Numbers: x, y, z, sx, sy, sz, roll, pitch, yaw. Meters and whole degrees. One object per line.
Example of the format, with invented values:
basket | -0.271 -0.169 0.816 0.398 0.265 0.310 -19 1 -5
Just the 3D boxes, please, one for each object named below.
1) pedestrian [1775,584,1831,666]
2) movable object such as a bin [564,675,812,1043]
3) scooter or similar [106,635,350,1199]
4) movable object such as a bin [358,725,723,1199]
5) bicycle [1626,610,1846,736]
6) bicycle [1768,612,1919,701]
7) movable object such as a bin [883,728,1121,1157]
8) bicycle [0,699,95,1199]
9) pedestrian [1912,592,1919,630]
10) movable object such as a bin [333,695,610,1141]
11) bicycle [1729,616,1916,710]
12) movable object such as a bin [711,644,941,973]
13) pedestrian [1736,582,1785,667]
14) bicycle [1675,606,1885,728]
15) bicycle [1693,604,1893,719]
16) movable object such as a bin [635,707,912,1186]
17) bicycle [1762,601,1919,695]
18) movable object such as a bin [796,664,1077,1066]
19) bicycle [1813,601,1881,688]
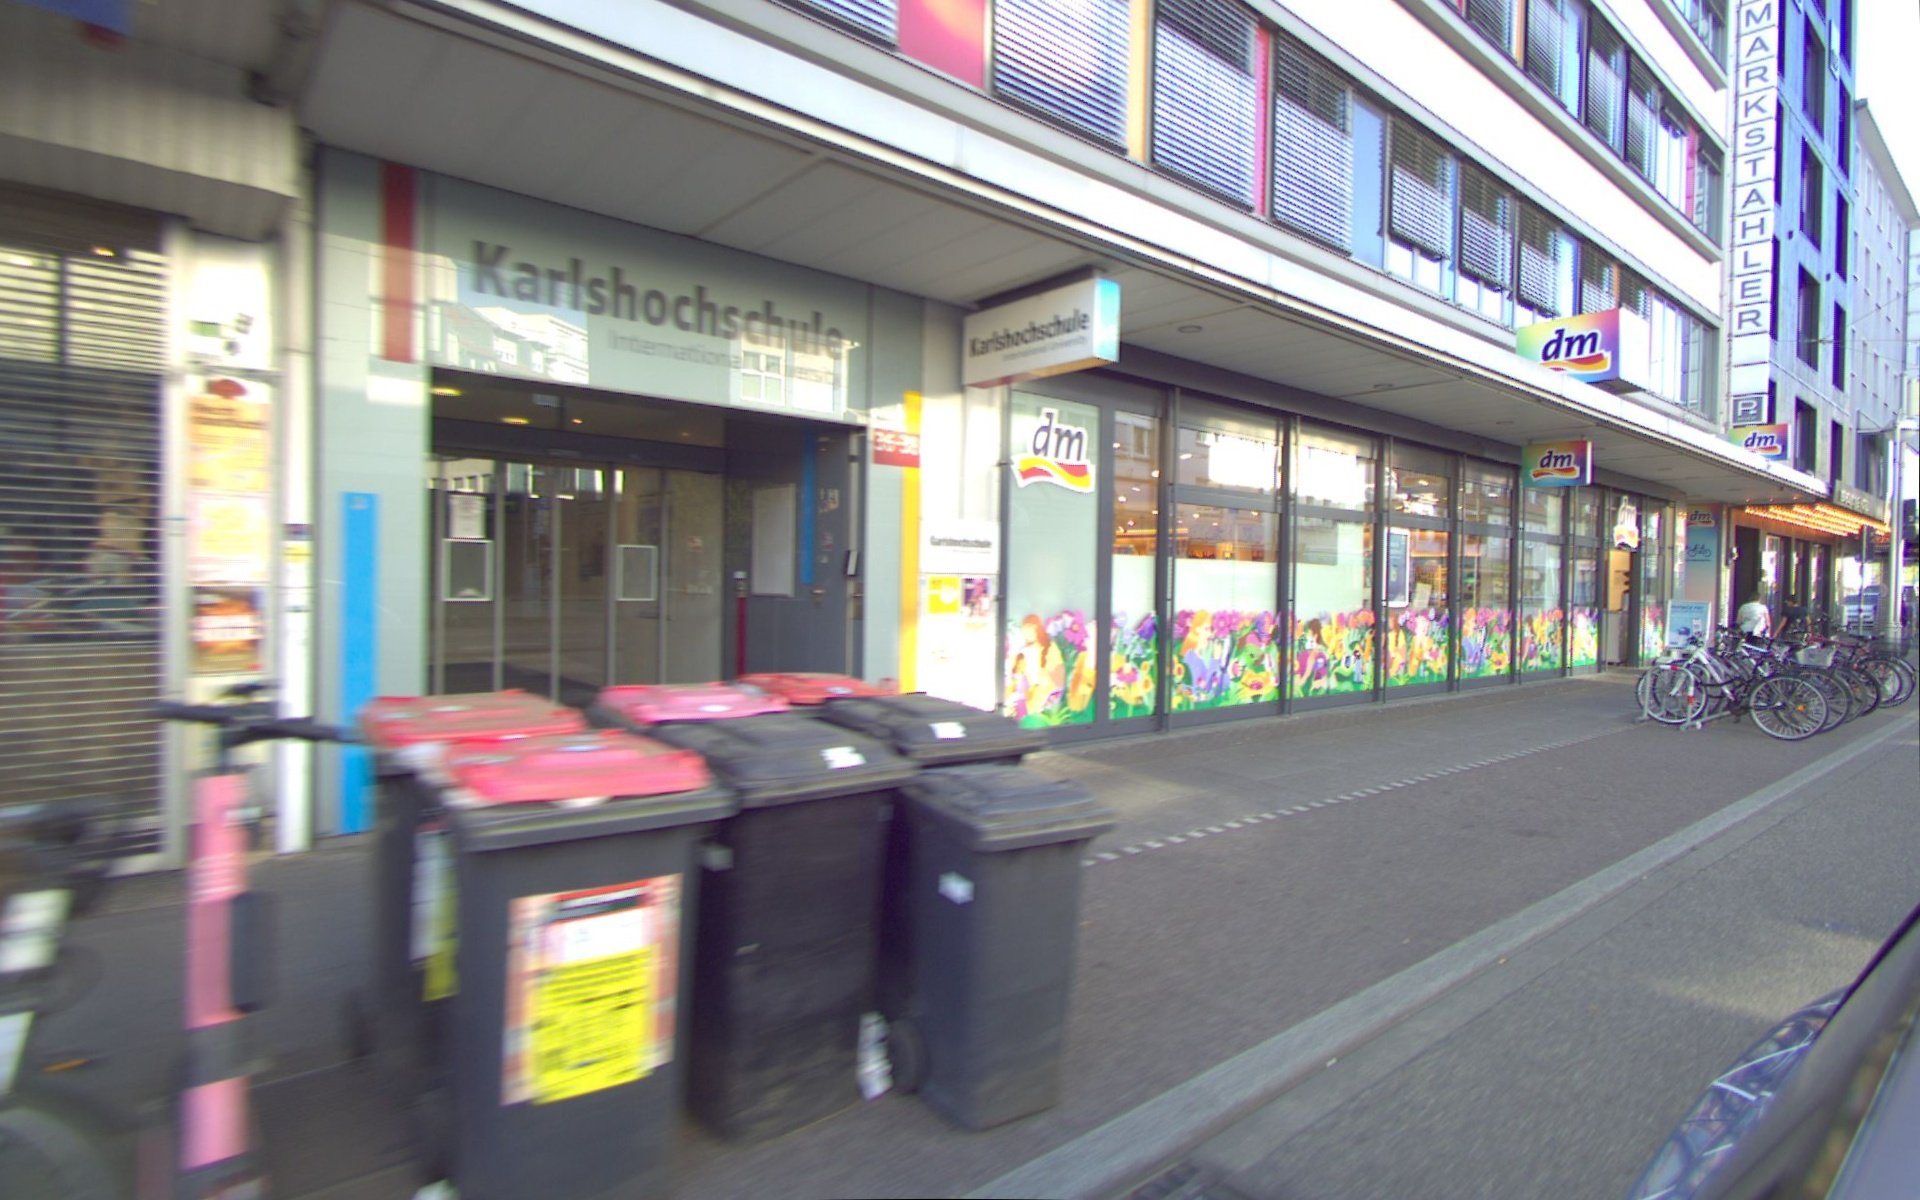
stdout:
pedestrian | 16.209 0.477 19.464 0.575 1.511 0.523 3 3 14
movable object such as a bin | -0.958 0.824 3.530 0.625 1.026 0.660 0 2 -38
scooter or similar | -1.529 0.741 2.065 0.314 1.246 0.995 0 3 -41
movable object such as a bin | -0.966 0.861 2.324 0.658 1.026 0.523 0 2 -38
bicycle | 8.458 0.749 11.104 0.657 1.174 1.791 0 2 -40
bicycle | 12.913 0.788 14.706 0.471 1.144 1.774 0 2 -45
movable object such as a bin | 0.110 0.901 2.859 0.449 0.970 0.489 0 2 -37
bicycle | -1.877 0.821 1.950 0.314 1.093 1.133 0 3 -41
pedestrian | 37.034 0.438 38.854 0.718 1.457 0.577 0 3 -40
movable object such as a bin | -1.471 0.854 3.026 0.625 1.026 0.660 0 2 -38
bicycle | 11.275 0.789 13.279 0.586 1.044 1.777 0 2 -40
movable object such as a bin | -0.551 0.767 4.086 0.653 1.102 0.693 0 2 -37
pedestrian | 15.554 0.460 19.667 0.587 1.605 0.582 0 3 -42
bicycle | 9.530 0.725 11.821 0.657 1.232 1.791 0 2 -40
bicycle | 10.152 0.704 12.399 0.577 1.232 1.791 0 2 -40
movable object such as a bin | -0.541 0.873 2.835 0.499 1.026 0.688 0 2 -37
bicycle | 13.510 0.699 15.369 2.034 1.290 0.517 3 2 41
movable object such as a bin | -0.093 0.821 3.486 0.673 1.102 0.693 0 2 -37
bicycle | 14.195 0.679 16.181 1.574 1.272 0.582 -1 4 -42
